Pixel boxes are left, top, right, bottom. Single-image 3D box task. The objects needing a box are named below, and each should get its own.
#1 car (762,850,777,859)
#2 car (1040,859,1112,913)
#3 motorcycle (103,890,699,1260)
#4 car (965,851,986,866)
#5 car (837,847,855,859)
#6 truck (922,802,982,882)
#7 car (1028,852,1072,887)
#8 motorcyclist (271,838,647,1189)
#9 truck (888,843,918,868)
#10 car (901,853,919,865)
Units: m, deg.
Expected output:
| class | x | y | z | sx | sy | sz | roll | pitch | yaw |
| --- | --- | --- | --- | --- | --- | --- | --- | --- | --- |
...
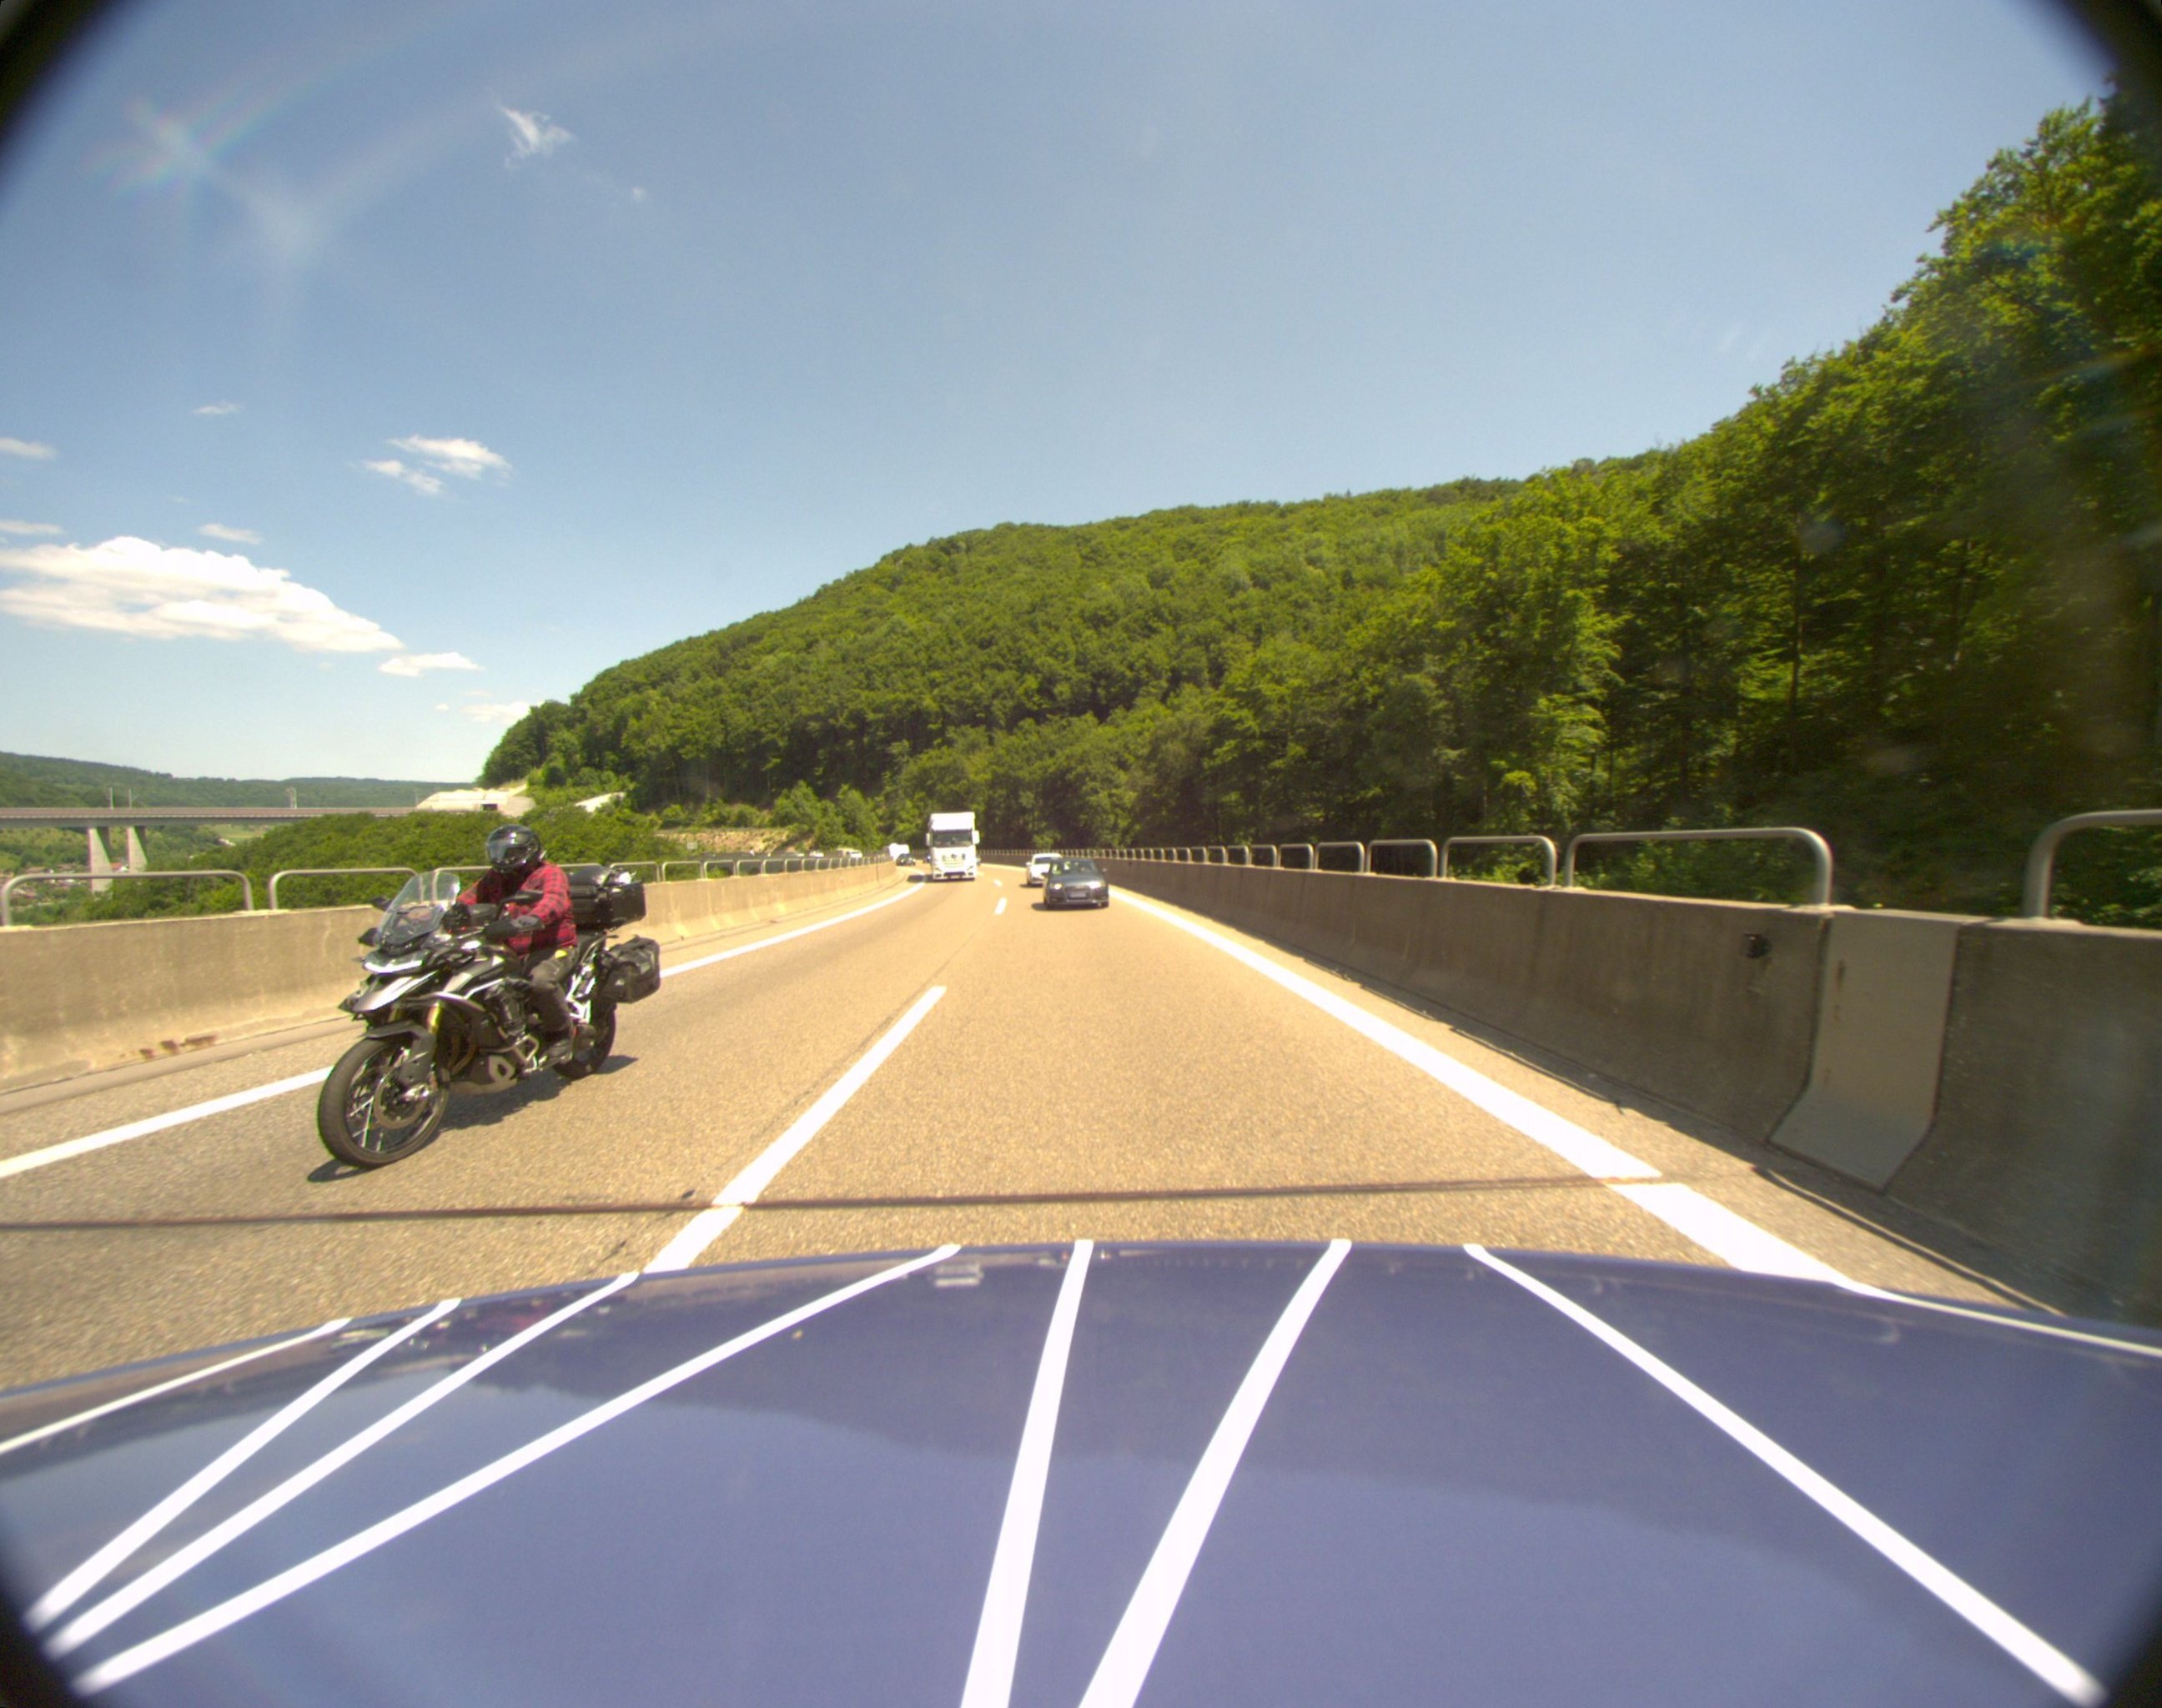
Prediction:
| class | x | y | z | sx | sy | sz | roll | pitch | yaw |
| --- | --- | --- | --- | --- | --- | --- | --- | --- | --- |
| car | -74.048 | 0.142 | 180.769 | 2.004 | 2.002 | 3.989 | -1 | 1 | -42 |
| car | -0.235 | 0.841 | 21.866 | 1.756 | 1.350 | 4.120 | -1 | 0 | -4 |
| motorcycle | -3.585 | 1.005 | 4.576 | 0.974 | 1.411 | 2.682 | -1 | 1 | 6 |
| car | -11.322 | 0.487 | 81.145 | 1.757 | 1.480 | 3.976 | -1 | 0 | -15 |
| car | -41.080 | -0.173 | 132.829 | 2.003 | 2.002 | 3.991 | -2 | 0 | -30 |
| truck | -7.887 | -0.636 | 47.781 | 2.971 | 4.108 | 16.693 | -1 | 0 | -8 |
| car | -1.475 | 0.665 | 34.947 | 1.756 | 1.460 | 3.980 | -3 | 1 | -5 |
| motorcyclist | -3.588 | 0.819 | 4.574 | 1.063 | 1.790 | 1.338 | -1 | 1 | 6 |
| truck | -23.226 | 0.181 | 99.113 | 2.621 | 3.084 | 6.842 | -2 | 0 | -23 |
| car | -21.202 | 0.573 | 94.158 | 1.758 | 1.480 | 3.975 | -1 | 0 | -19 |
